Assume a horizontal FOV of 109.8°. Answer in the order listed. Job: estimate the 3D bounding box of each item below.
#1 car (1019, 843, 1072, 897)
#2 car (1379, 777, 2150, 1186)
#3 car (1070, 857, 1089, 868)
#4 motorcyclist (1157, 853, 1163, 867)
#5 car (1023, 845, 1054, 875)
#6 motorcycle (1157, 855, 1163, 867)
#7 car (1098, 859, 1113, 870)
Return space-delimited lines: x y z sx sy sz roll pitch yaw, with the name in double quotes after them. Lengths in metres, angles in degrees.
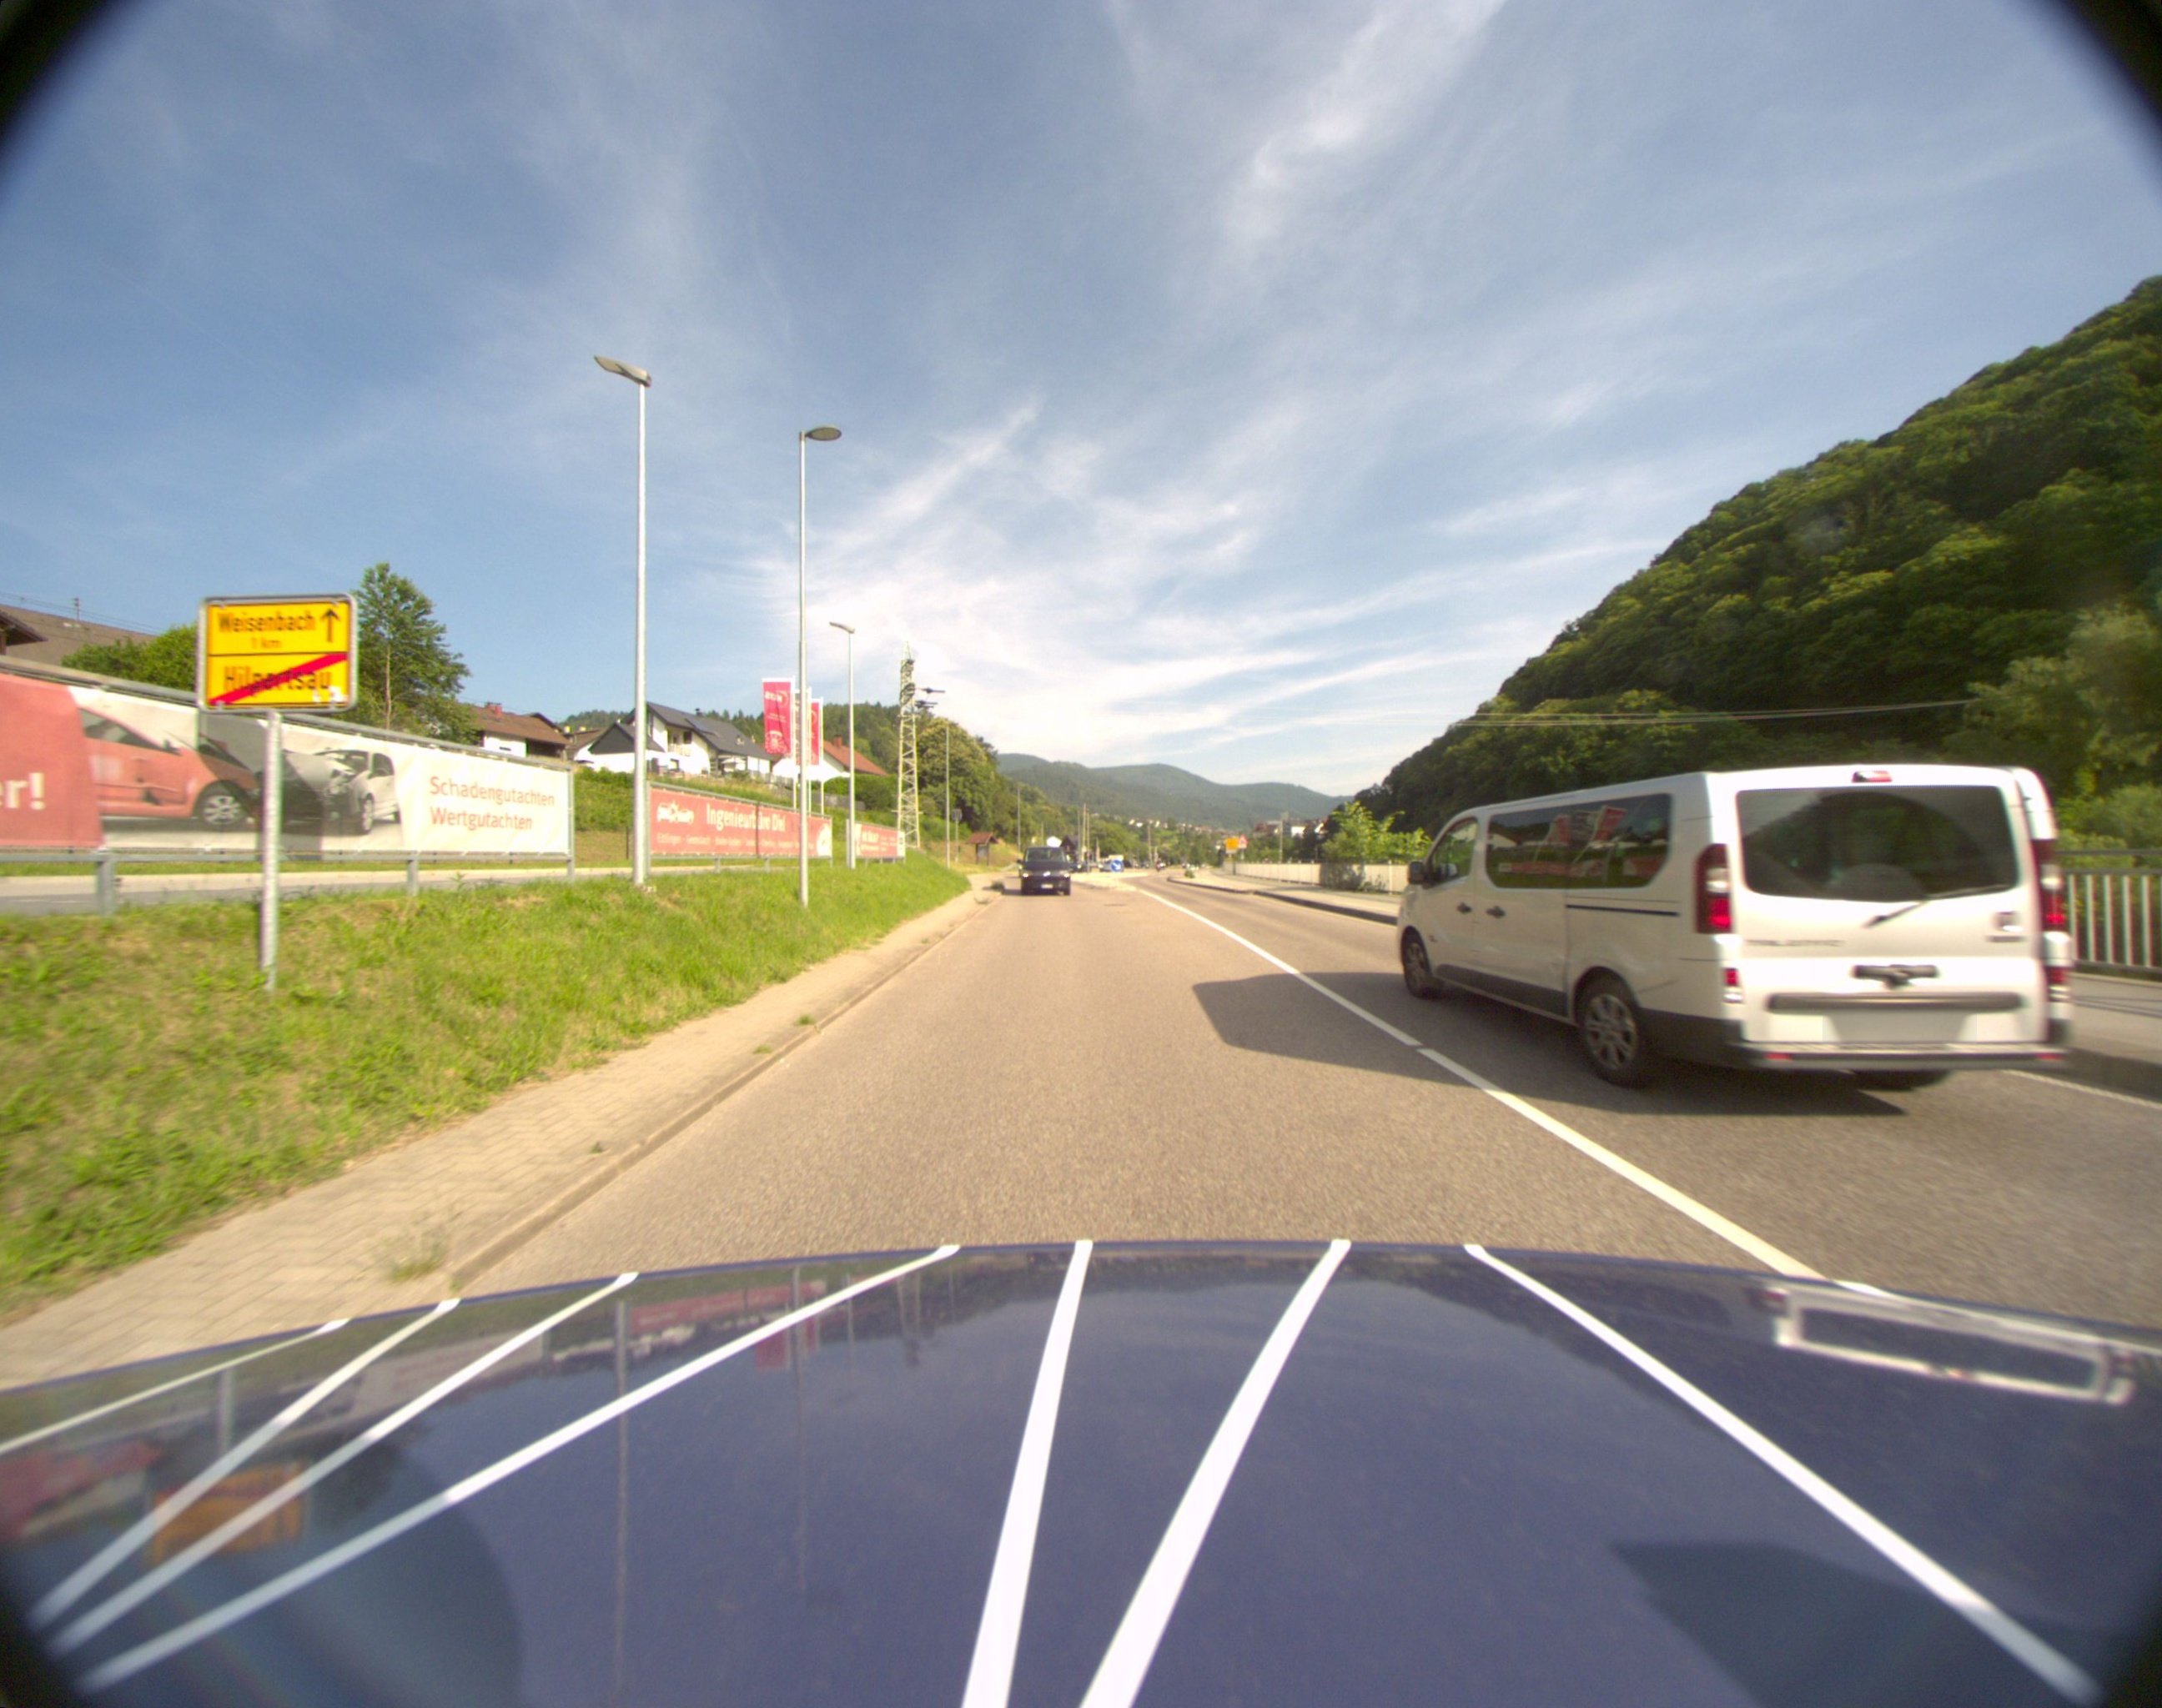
-1.489 0.598 30.592 1.866 1.936 4.636 2 0 -4 "car"
4.279 0.585 6.250 1.924 1.956 5.147 0 1 4 "car"
-0.152 0.767 70.560 1.304 0.963 3.207 -1 -1 8 "car"
9.928 0.752 95.448 0.764 1.668 0.727 0 1 7 "motorcyclist"
-2.952 0.456 53.545 1.612 2.001 3.824 -1 -1 5 "car"
9.918 0.881 95.377 0.774 1.414 2.319 0 0 6 "motorcycle"
2.714 1.128 83.508 1.271 1.171 3.125 -1 -1 10 "car"
